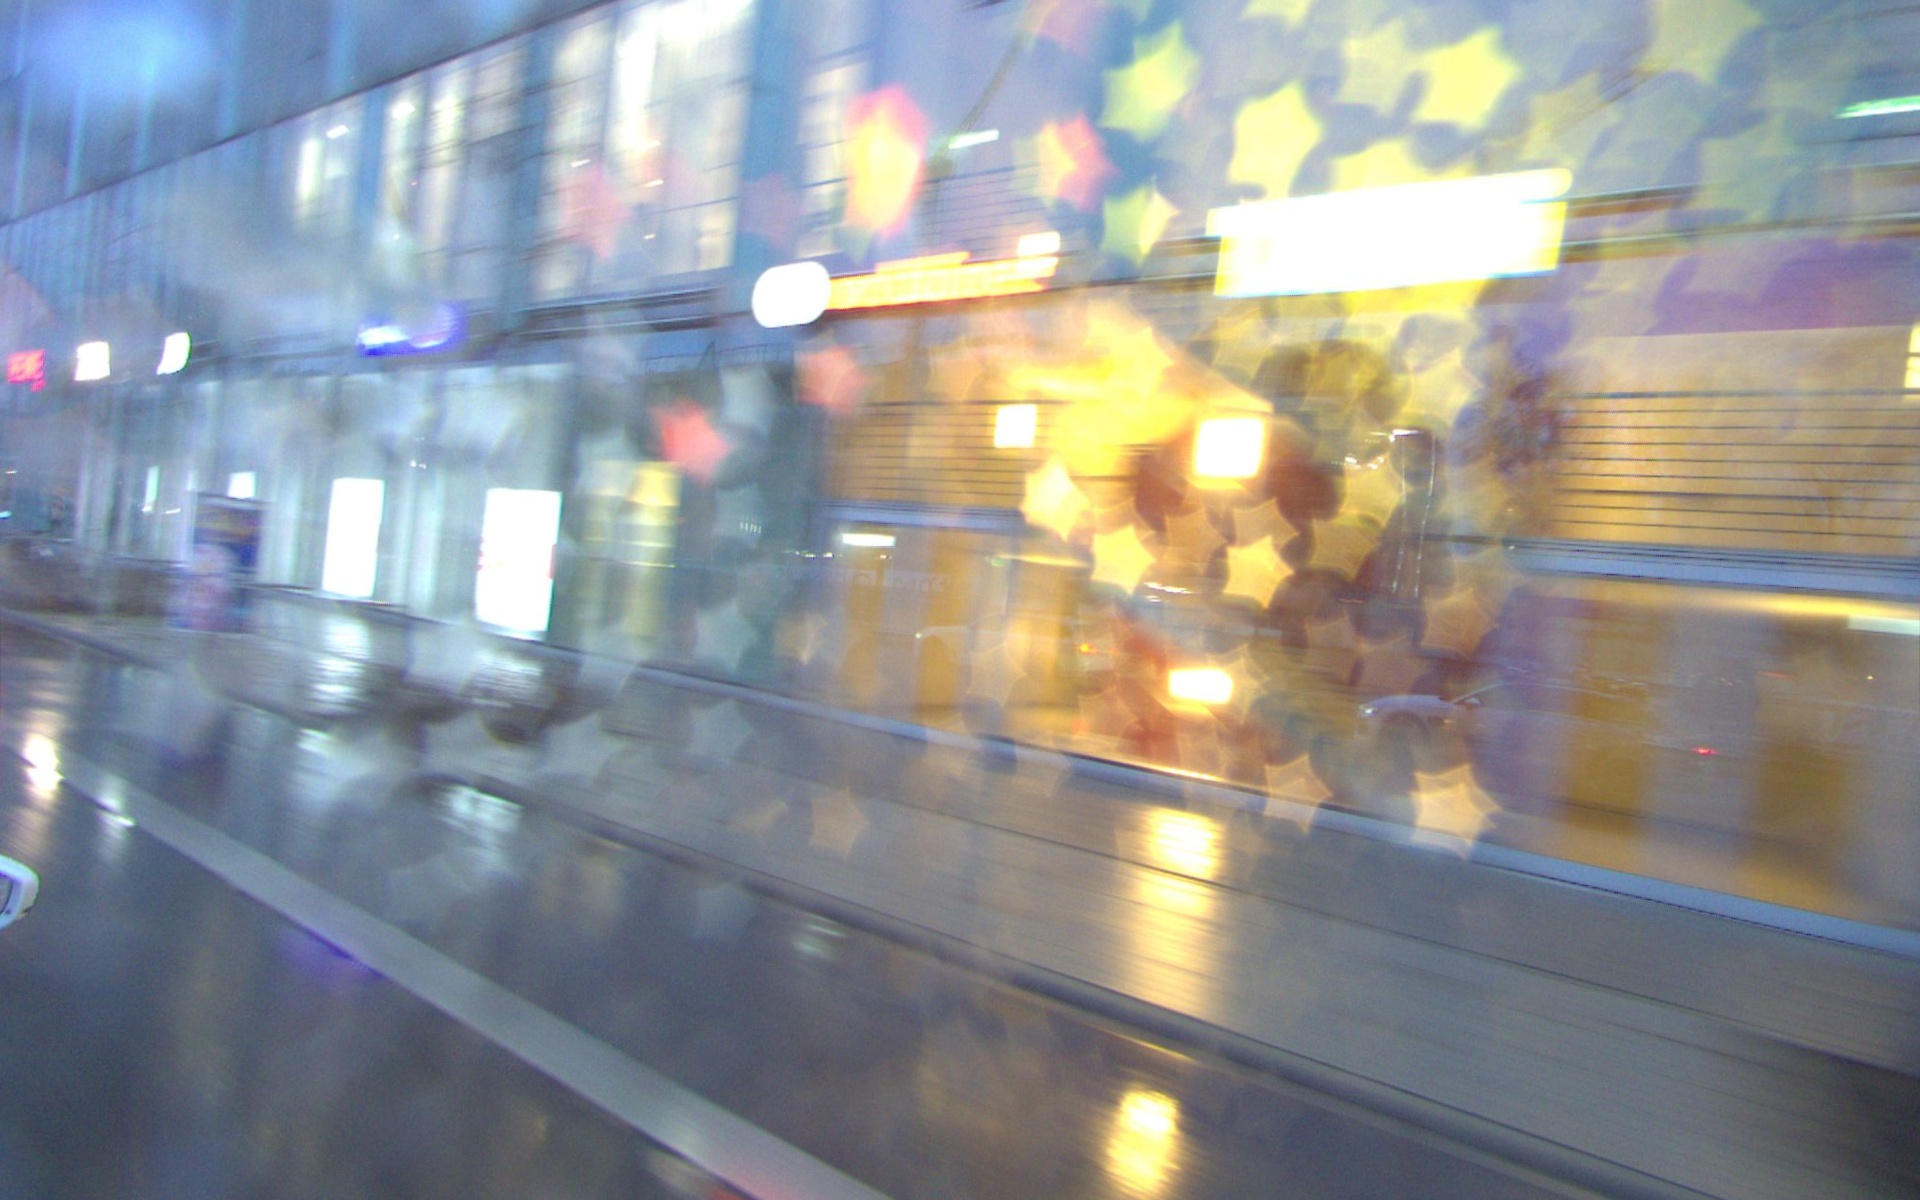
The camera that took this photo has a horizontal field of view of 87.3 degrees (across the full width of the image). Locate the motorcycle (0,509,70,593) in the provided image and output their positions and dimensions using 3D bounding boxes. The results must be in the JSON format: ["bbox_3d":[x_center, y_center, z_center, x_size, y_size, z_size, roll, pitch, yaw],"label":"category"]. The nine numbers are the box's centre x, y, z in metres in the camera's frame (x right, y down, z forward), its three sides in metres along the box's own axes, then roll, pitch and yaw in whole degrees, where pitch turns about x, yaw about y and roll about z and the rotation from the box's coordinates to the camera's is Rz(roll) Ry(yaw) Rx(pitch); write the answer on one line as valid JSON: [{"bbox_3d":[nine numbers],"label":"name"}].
[{"bbox_3d":[-16.575,-0.896,17.192,1.880,1.350,0.593,6,0,-17],"label":"motorcycle"}]
